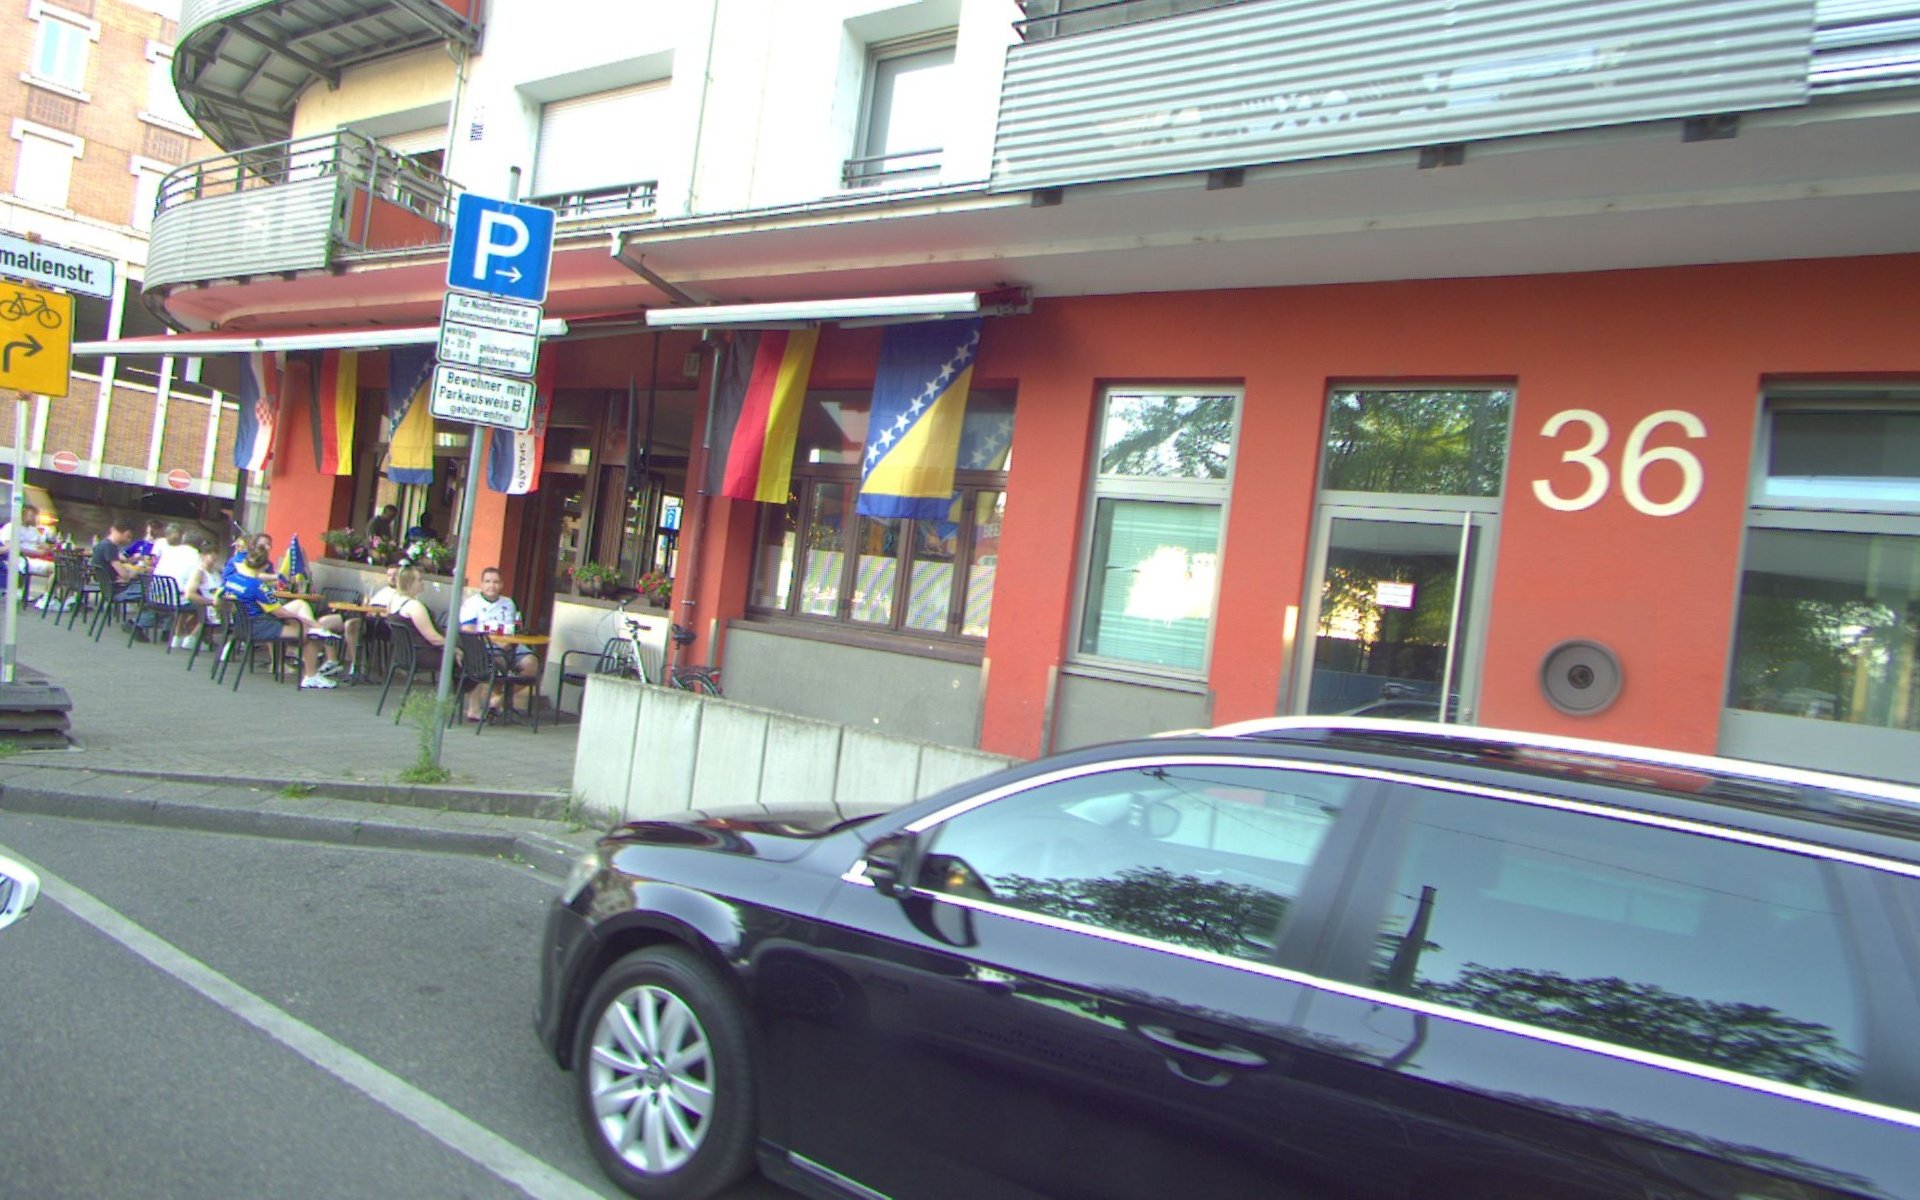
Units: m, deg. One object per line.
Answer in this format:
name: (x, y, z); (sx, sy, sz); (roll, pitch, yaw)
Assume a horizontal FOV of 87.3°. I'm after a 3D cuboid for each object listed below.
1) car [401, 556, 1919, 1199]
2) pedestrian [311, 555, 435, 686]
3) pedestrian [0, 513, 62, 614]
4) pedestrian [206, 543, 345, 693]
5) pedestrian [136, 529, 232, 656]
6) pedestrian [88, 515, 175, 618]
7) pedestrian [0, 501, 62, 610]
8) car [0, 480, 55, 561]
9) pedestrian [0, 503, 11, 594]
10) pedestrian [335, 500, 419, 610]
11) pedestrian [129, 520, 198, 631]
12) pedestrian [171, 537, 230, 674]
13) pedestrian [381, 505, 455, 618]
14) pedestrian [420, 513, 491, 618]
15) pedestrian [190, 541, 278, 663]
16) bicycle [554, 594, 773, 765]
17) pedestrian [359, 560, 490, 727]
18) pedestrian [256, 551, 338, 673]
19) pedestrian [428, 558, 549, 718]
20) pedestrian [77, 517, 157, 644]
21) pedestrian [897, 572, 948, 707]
car: (0.933, 0.996, 2.527); (4.709, 1.518, 1.771); (7, -4, 30)
pedestrian: (-6.057, 0.211, 10.393); (0.702, 1.239, 0.779); (7, 2, 30)
pedestrian: (-11.719, -0.474, 12.308); (0.609, 1.163, 0.890); (7, 0, 37)
pedestrian: (-6.272, 0.167, 9.243); (0.483, 1.273, 0.859); (7, 2, 30)
pedestrian: (-8.390, -0.082, 10.894); (0.502, 1.293, 0.626); (6, 2, -7)
pedestrian: (-11.295, -0.457, 13.737); (0.611, 1.294, 0.697); (7, 0, -23)
pedestrian: (-12.072, -0.581, 12.905); (0.649, 1.299, 0.617); (7, 0, 38)
car: (-22.441, -1.994, 21.724); (4.169, 1.644, 1.779); (9, -2, -43)
pedestrian: (-13.182, -0.704, 13.358); (0.724, 1.269, 0.617); (7, 0, 36)
pedestrian: (-9.399, -0.712, 16.242); (0.675, 1.625, 0.716); (8, -2, 3)
pedestrian: (-9.927, -0.308, 12.538); (0.514, 1.292, 0.489); (7, 0, 43)
pedestrian: (-7.346, 0.053, 9.729); (0.342, 1.273, 0.355); (4, 3, -44)
pedestrian: (-8.430, -0.590, 15.661); (0.598, 1.625, 0.534); (8, -2, 8)
pedestrian: (-8.444, -0.566, 16.860); (0.704, 1.625, 0.687); (8, -2, -12)
pedestrian: (-7.686, 0.022, 10.664); (0.560, 1.217, 0.417); (6, 2, -12)
bicycle: (-2.439, 0.618, 8.232); (1.712, 1.168, 0.536); (5, 0, 25)
pedestrian: (-4.498, 0.369, 8.462); (0.599, 1.302, 0.686); (7, 0, 39)
pedestrian: (-6.957, 0.121, 10.571); (0.529, 1.217, 0.417); (6, 2, -13)
pedestrian: (-4.377, 0.350, 9.349); (0.684, 1.365, 0.607); (7, 1, 29)
pedestrian: (-9.172, -0.203, 10.951); (0.411, 1.320, 0.491); (7, 2, 30)
pedestrian: (-0.485, 0.512, 13.034); (0.420, 1.680, 0.431); (8, -1, -1)
